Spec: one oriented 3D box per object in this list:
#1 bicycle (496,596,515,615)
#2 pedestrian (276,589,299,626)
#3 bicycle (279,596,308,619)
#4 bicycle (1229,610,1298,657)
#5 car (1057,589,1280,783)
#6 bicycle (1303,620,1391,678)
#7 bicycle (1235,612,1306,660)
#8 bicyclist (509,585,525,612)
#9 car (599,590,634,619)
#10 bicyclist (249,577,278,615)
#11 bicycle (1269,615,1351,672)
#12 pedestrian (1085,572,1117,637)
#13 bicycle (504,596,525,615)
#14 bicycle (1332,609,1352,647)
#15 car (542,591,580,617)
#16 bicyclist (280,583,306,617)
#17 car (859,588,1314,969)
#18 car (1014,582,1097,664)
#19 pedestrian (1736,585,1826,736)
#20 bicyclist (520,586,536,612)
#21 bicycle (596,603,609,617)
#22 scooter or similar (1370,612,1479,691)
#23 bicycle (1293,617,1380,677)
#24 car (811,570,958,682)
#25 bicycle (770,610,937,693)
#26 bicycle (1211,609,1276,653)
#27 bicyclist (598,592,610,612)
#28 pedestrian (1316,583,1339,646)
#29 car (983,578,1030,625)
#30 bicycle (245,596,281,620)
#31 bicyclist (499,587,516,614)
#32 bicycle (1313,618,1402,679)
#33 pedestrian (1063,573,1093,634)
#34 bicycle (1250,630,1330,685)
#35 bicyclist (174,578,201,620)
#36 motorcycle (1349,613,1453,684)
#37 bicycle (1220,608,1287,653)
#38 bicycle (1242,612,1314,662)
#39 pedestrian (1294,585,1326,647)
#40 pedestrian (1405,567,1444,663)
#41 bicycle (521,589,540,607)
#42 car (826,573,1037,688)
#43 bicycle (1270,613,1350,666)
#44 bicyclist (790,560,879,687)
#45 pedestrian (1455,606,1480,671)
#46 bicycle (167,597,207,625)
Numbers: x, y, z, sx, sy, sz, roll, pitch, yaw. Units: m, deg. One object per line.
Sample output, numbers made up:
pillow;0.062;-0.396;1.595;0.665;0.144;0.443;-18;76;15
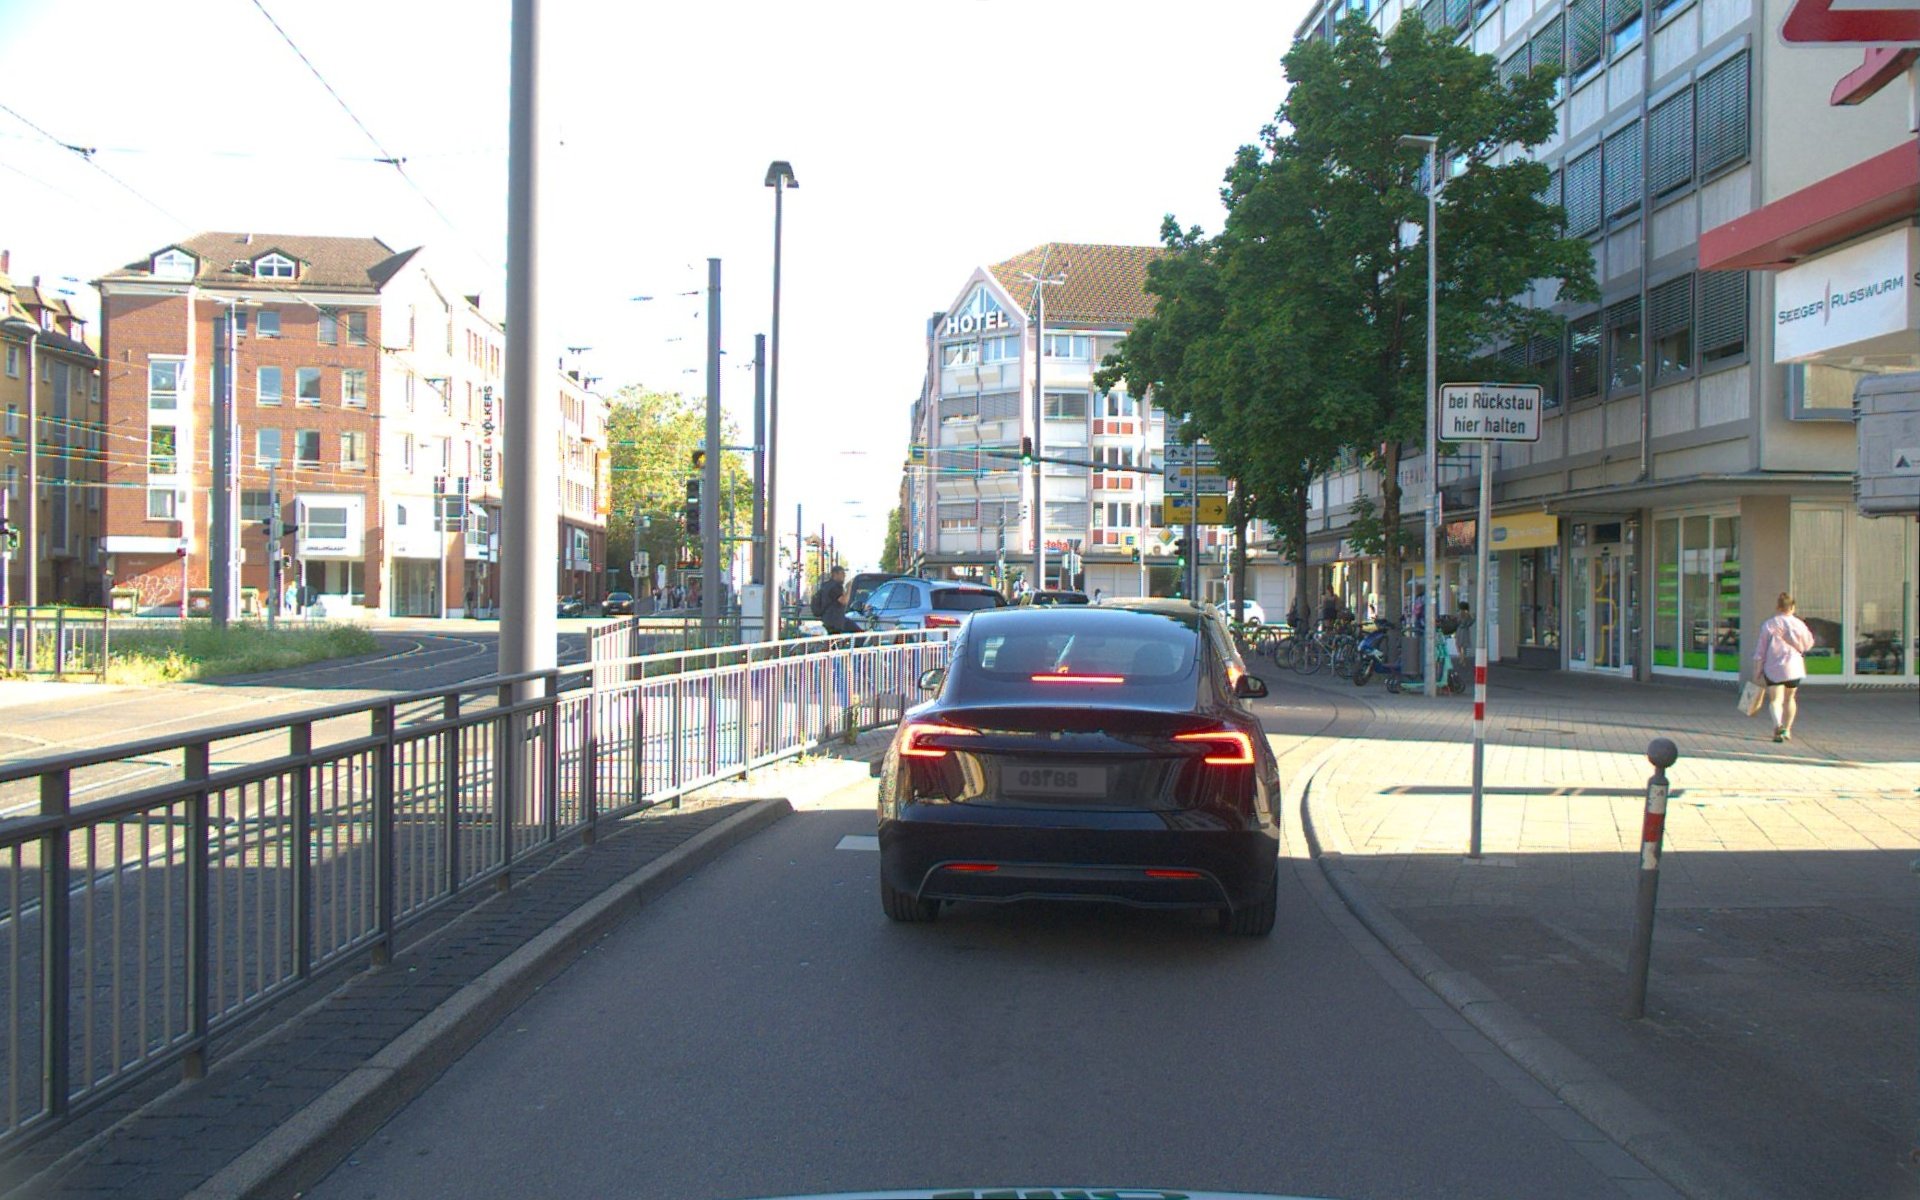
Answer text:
bicycle;-26.721;0.318;97.261;0.526;1.107;2.224;1;0;0
pedestrian;-33.422;0.366;82.199;0.767;1.852;0.746;1;-1;1
bicycle;-29.684;0.334;73.671;0.396;0.998;1.695;1;0;7
bicycle;7.425;0.816;40.444;1.616;1.118;0.350;1;-1;1
car;1.824;0.660;14.966;1.714;1.480;4.003;1;0;6
bicycle;7.380;0.929;31.550;1.620;1.079;0.349;1;-1;-11
bicycle;7.396;0.863;39.430;1.616;1.118;0.350;1;-1;1
bicyclist;-26.817;-0.103;100.051;0.767;1.590;0.746;0;0;1
car;-21.929;0.287;105.693;1.663;1.762;3.704;1;0;-3
bicyclist;-28.355;-0.172;67.319;0.880;1.529;0.696;1;-1;-1
bicycle;7.093;0.884;33.497;1.620;1.118;0.349;1;-1;-11
pedestrian;4.493;0.142;52.883;0.902;2.049;0.972;1;-1;-1
bicycle;-26.895;0.341;99.922;0.518;1.107;2.284;4;-2;1
bicycle;10.509;0.762;45.473;0.325;1.052;1.257;1;0;3
car;-24.700;0.228;102.409;1.677;1.553;4.031;1;0;-5
bicyclist;-29.716;-0.020;73.684;0.689;1.496;0.973;0;0;7
car;0.642;0.717;8.606;1.791;1.481;4.002;1;0;4
car;2.206;0.525;39.131;1.566;1.809;3.979;1;0;-2
pedestrian;9.497;0.683;19.155;0.871;1.696;0.808;1;-1;23
bicyclist;-26.670;-0.087;102.151;0.767;1.590;0.746;0;0;1
bicycle;-28.870;0.831;133.527;0.518;1.107;2.225;1;0;1
scooter or similar;7.659;0.836;27.296;1.610;1.236;0.644;1;-1;30
bicycle;7.275;0.906;31.973;1.620;1.118;0.349;1;-1;-11
car;-1.551;0.485;32.598;1.962;2.049;3.981;0;0;-17
bicycle;-1.422;0.691;22.413;2.313;1.072;0.622;1;-1;-39
bicycle;7.289;0.797;42.582;1.616;1.118;0.350;1;-1;1
bicyclist;-28.847;0.156;133.851;0.767;1.590;0.746;1;-1;1
pedestrian;10.202;0.405;45.898;0.515;1.740;0.403;1;-1;-2
car;1.843;0.065;65.892;1.685;1.781;3.753;1;0;-1
bicycle;-28.363;0.326;67.331;0.513;0.988;2.246;1;0;-1
bicyclist;-26.710;0.049;97.661;0.767;1.590;0.746;1;-1;1
bicycle;7.476;0.915;31.130;1.620;1.118;0.349;1;-1;-11
pedestrian;4.001;0.114;55.959;0.902;2.049;0.972;1;-1;-1
bicycle;6.858;1.187;34.388;1.620;1.118;0.349;1;-1;-11
bicyclist;-28.270;-0.030;60.510;0.620;1.529;0.696;1;-1;-1
motorcycle;7.807;0.855;29.311;1.673;1.194;0.541;1;-1;-3
bicycle;7.359;0.773;41.489;1.616;1.118;0.350;0;0;1
bicycle;7.380;0.862;38.403;1.616;1.118;0.350;1;-1;1
pedestrian;9.669;0.444;45.701;0.685;1.691;0.777;1;-1;-1
pedestrian;10.045;0.323;35.779;0.648;2.049;0.579;1;-1;1
bicycle;-26.684;-0.101;102.758;0.518;1.107;2.284;1;0;1
car;-0.551;0.454;26.460;1.859;1.691;4.125;1;0;-25
bicycle;7.496;0.846;35.452;1.616;1.118;0.350;1;-1;1
bicyclist;-1.685;0.311;22.150;0.753;1.657;0.964;1;-1;-39
pedestrian;10.879;0.819;35.451;0.381;1.367;0.513;1;-1;1
bicycle;-28.271;0.389;60.521;0.437;0.988;2.246;1;0;-1
